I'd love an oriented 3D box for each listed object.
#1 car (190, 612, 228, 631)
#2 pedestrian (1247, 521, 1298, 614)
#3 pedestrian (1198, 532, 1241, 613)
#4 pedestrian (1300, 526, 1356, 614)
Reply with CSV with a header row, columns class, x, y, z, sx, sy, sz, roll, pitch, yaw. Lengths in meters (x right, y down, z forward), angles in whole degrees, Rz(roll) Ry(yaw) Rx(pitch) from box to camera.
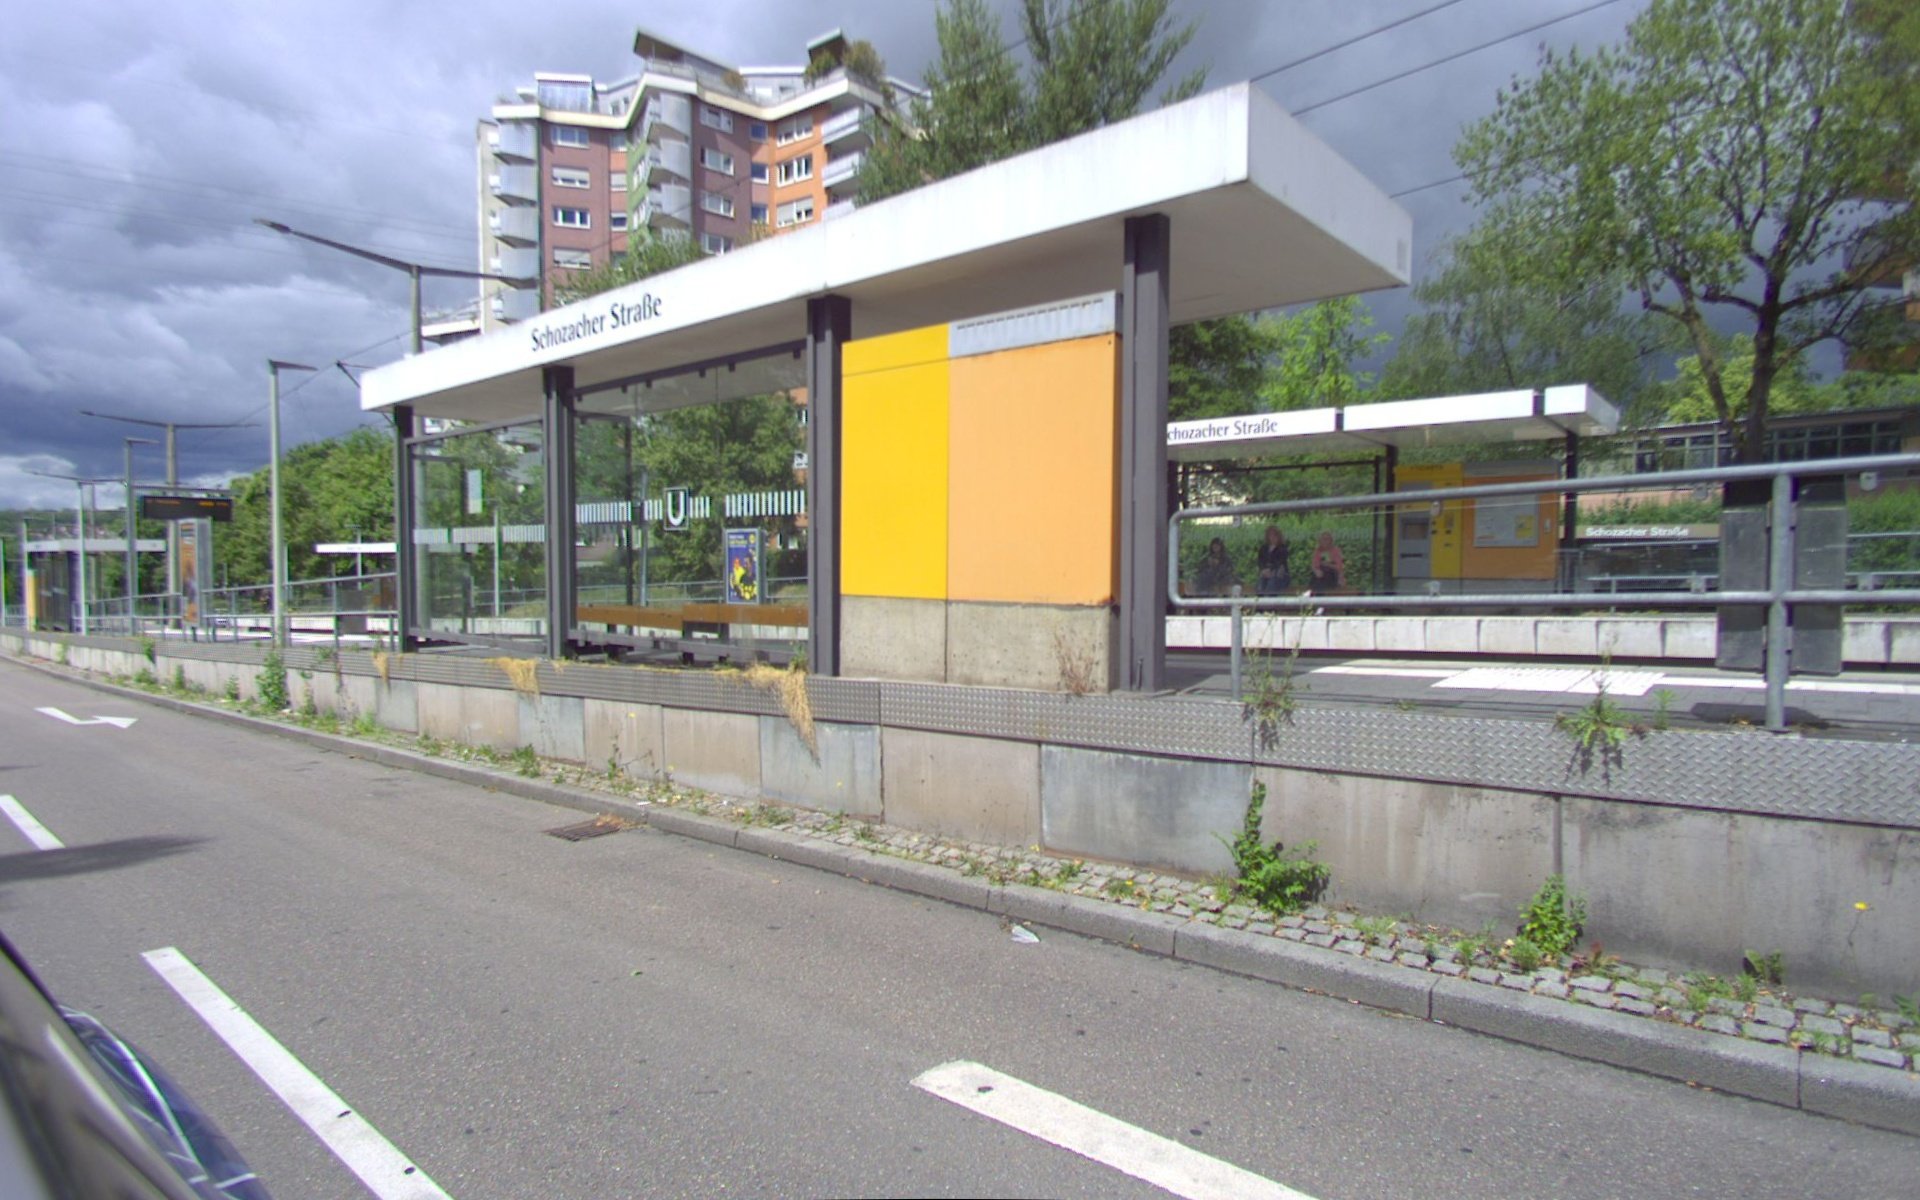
class,x,y,z,sx,sy,sz,roll,pitch,yaw
car,-58.638,1.697,78.997,3.999,1.429,1.637,-1,0,42
pedestrian,4.741,-0.481,15.353,0.506,1.379,0.637,-1,-1,41
pedestrian,4.095,-0.415,15.961,0.541,1.246,0.516,-1,-1,29
pedestrian,5.343,-0.422,14.690,0.517,1.246,0.734,-1,-1,41
